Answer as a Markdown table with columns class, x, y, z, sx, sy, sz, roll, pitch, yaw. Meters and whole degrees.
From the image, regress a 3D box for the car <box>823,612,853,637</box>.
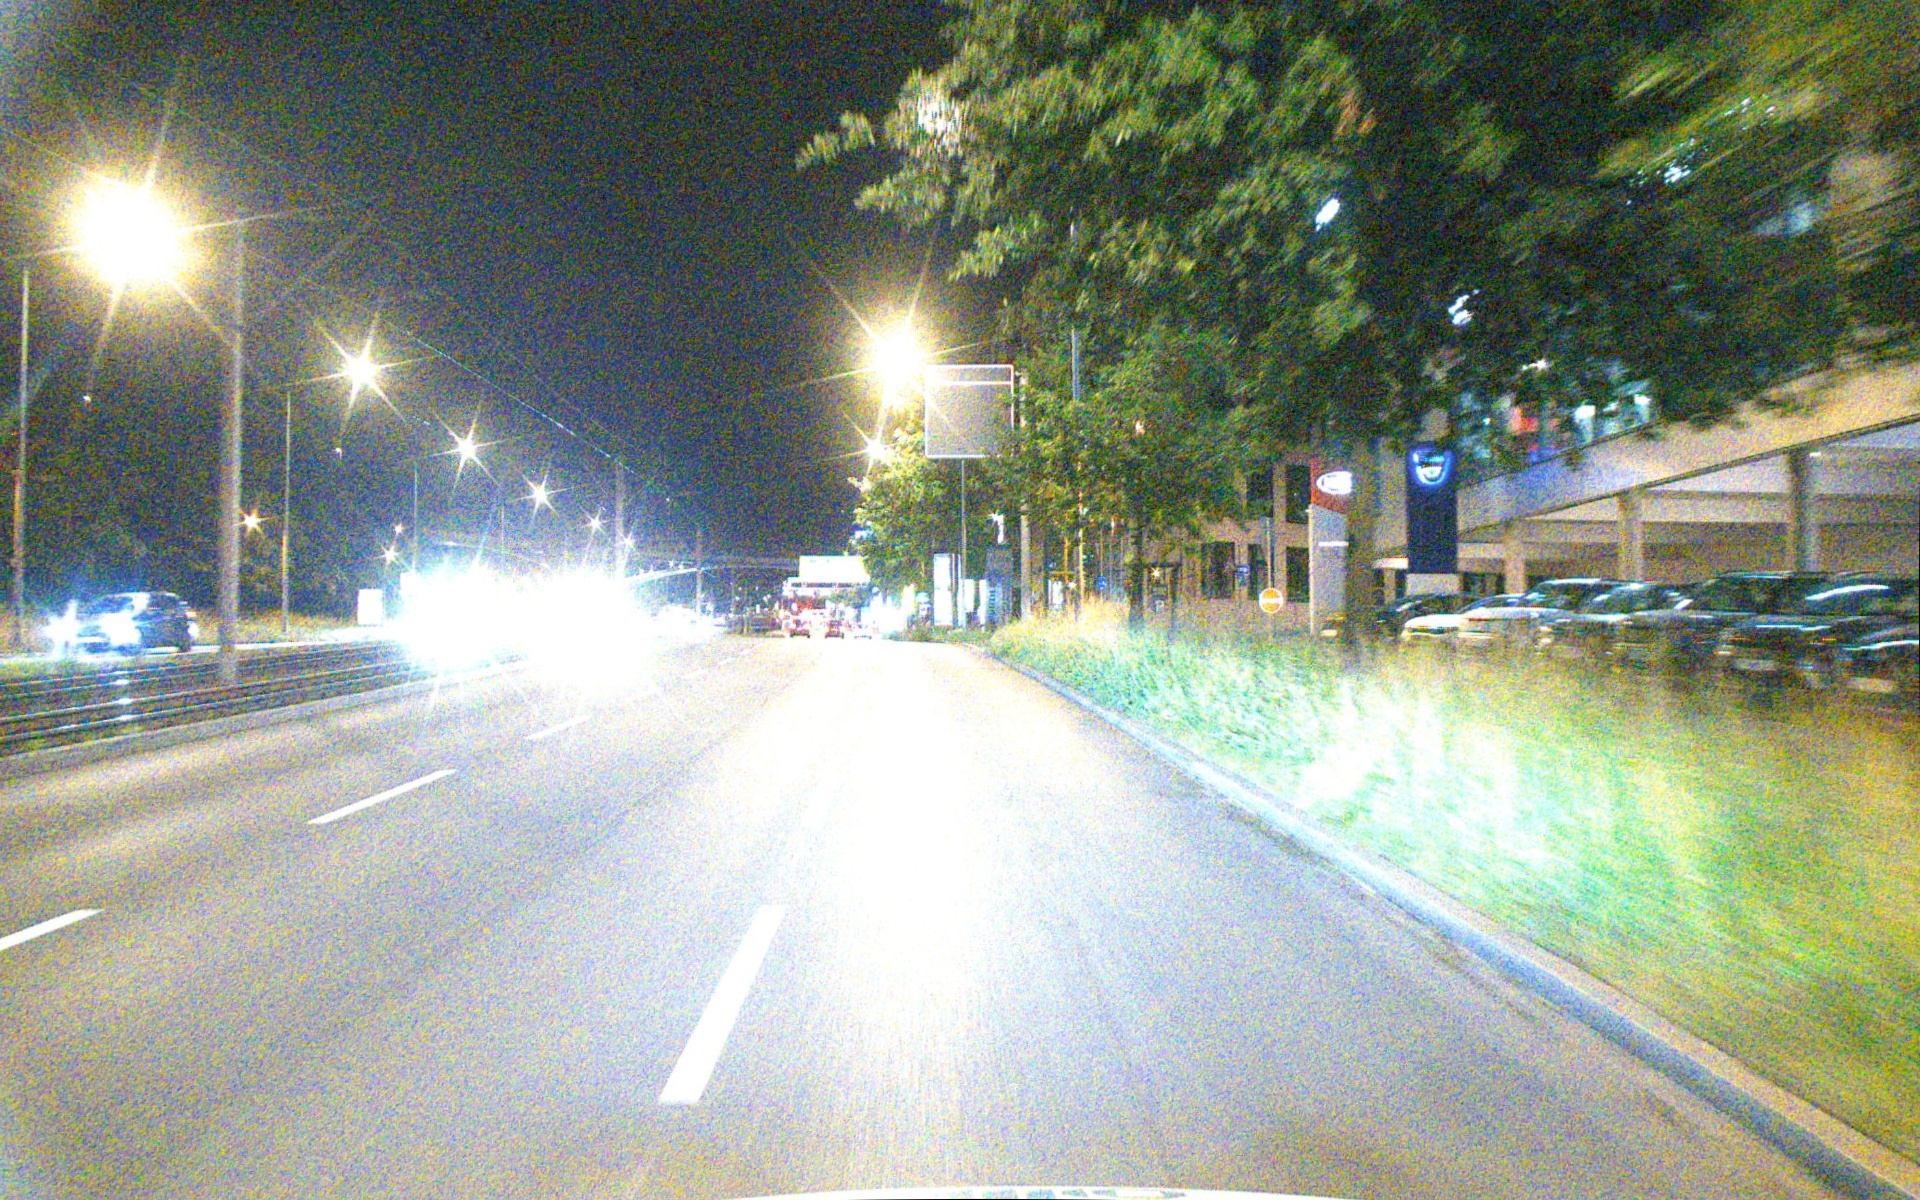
| class | x | y | z | sx | sy | sz | roll | pitch | yaw |
| --- | --- | --- | --- | --- | --- | --- | --- | --- | --- |
| car | -10.752 | 2.130 | 146.037 | 2.308 | 2.166 | 4.824 | 1 | -1 | -2 |

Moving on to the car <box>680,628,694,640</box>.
| class | x | y | z | sx | sy | sz | roll | pitch | yaw |
| --- | --- | --- | --- | --- | --- | --- | --- | --- | --- |
| car | -41.901 | 5.211 | 254.202 | 1.827 | 1.781 | 3.697 | 1 | -1 | -5 |

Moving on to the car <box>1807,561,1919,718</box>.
| class | x | y | z | sx | sy | sz | roll | pitch | yaw |
| --- | --- | --- | --- | --- | --- | --- | --- | --- | --- |
| car | 10.489 | 0.280 | 15.894 | 3.917 | 1.405 | 1.803 | -3 | 1 | -12 |

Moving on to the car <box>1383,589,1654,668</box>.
| class | x | y | z | sx | sy | sz | roll | pitch | yaw |
| --- | --- | --- | --- | --- | --- | --- | --- | --- | --- |
| car | 9.926 | 0.461 | 29.349 | 4.572 | 1.286 | 1.931 | 0 | 1 | -26 |

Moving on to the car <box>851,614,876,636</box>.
| class | x | y | z | sx | sy | sz | roll | pitch | yaw |
| --- | --- | --- | --- | --- | --- | --- | --- | --- | --- |
| car | -9.848 | 2.577 | 169.873 | 2.378 | 2.150 | 4.824 | 1 | -1 | -2 |

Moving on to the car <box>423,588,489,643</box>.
| class | x | y | z | sx | sy | sz | roll | pitch | yaw |
| --- | --- | --- | --- | --- | --- | --- | --- | --- | --- |
| car | -27.116 | 0.852 | 89.207 | 2.105 | 2.718 | 6.951 | -2 | -1 | -7 |

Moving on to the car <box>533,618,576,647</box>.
| class | x | y | z | sx | sy | sz | roll | pitch | yaw |
| --- | --- | --- | --- | --- | --- | --- | --- | --- | --- |
| car | -24.625 | 1.949 | 100.505 | 1.955 | 1.622 | 3.994 | -1 | 0 | -6 |

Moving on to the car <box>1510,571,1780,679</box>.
| class | x | y | z | sx | sy | sz | roll | pitch | yaw |
| --- | --- | --- | --- | --- | --- | --- | --- | --- | --- |
| car | 9.855 | 0.363 | 23.799 | 3.555 | 1.458 | 1.667 | 1 | -1 | -25 |

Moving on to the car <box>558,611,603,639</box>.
| class | x | y | z | sx | sy | sz | roll | pitch | yaw |
| --- | --- | --- | --- | --- | --- | --- | --- | --- | --- |
| car | -20.432 | 1.326 | 89.157 | 1.588 | 1.465 | 4.336 | -1 | 0 | -2 |

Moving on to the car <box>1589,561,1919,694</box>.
| class | x | y | z | sx | sy | sz | roll | pitch | yaw |
| --- | --- | --- | --- | --- | --- | --- | --- | --- | --- |
| car | 10.337 | 0.314 | 21.341 | 3.930 | 1.495 | 1.822 | -2 | 0 | -21 |

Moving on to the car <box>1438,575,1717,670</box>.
| class | x | y | z | sx | sy | sz | roll | pitch | yaw |
| --- | --- | --- | --- | --- | --- | --- | --- | --- | --- |
| car | 9.914 | 0.325 | 26.628 | 3.926 | 1.448 | 1.899 | 0 | 1 | -19 |

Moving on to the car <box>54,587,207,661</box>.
| class | x | y | z | sx | sy | sz | roll | pitch | yaw |
| --- | --- | --- | --- | --- | --- | --- | --- | --- | --- |
| car | -20.683 | 0.598 | 41.456 | 1.743 | 1.743 | 4.225 | 1 | -1 | -1 |

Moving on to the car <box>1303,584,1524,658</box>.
| class | x | y | z | sx | sy | sz | roll | pitch | yaw |
| --- | --- | --- | --- | --- | --- | --- | --- | --- | --- |
| car | 9.367 | 0.439 | 34.250 | 4.053 | 1.445 | 1.869 | 1 | -1 | -15 |

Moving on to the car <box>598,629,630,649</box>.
| class | x | y | z | sx | sy | sz | roll | pitch | yaw |
| --- | --- | --- | --- | --- | --- | --- | --- | --- | --- |
| car | -27.321 | 3.055 | 130.746 | 1.829 | 1.454 | 4.952 | 1 | -1 | -4 |

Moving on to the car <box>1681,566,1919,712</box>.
| class | x | y | z | sx | sy | sz | roll | pitch | yaw |
| --- | --- | --- | --- | --- | --- | --- | --- | --- | --- |
| car | 10.249 | 0.364 | 18.525 | 3.934 | 1.416 | 1.813 | -2 | 1 | -24 |

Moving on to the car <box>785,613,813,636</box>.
| class | x | y | z | sx | sy | sz | roll | pitch | yaw |
| --- | --- | --- | --- | --- | --- | --- | --- | --- | --- |
| car | -14.568 | 2.235 | 149.898 | 2.217 | 2.049 | 4.824 | 1 | -1 | -2 |
